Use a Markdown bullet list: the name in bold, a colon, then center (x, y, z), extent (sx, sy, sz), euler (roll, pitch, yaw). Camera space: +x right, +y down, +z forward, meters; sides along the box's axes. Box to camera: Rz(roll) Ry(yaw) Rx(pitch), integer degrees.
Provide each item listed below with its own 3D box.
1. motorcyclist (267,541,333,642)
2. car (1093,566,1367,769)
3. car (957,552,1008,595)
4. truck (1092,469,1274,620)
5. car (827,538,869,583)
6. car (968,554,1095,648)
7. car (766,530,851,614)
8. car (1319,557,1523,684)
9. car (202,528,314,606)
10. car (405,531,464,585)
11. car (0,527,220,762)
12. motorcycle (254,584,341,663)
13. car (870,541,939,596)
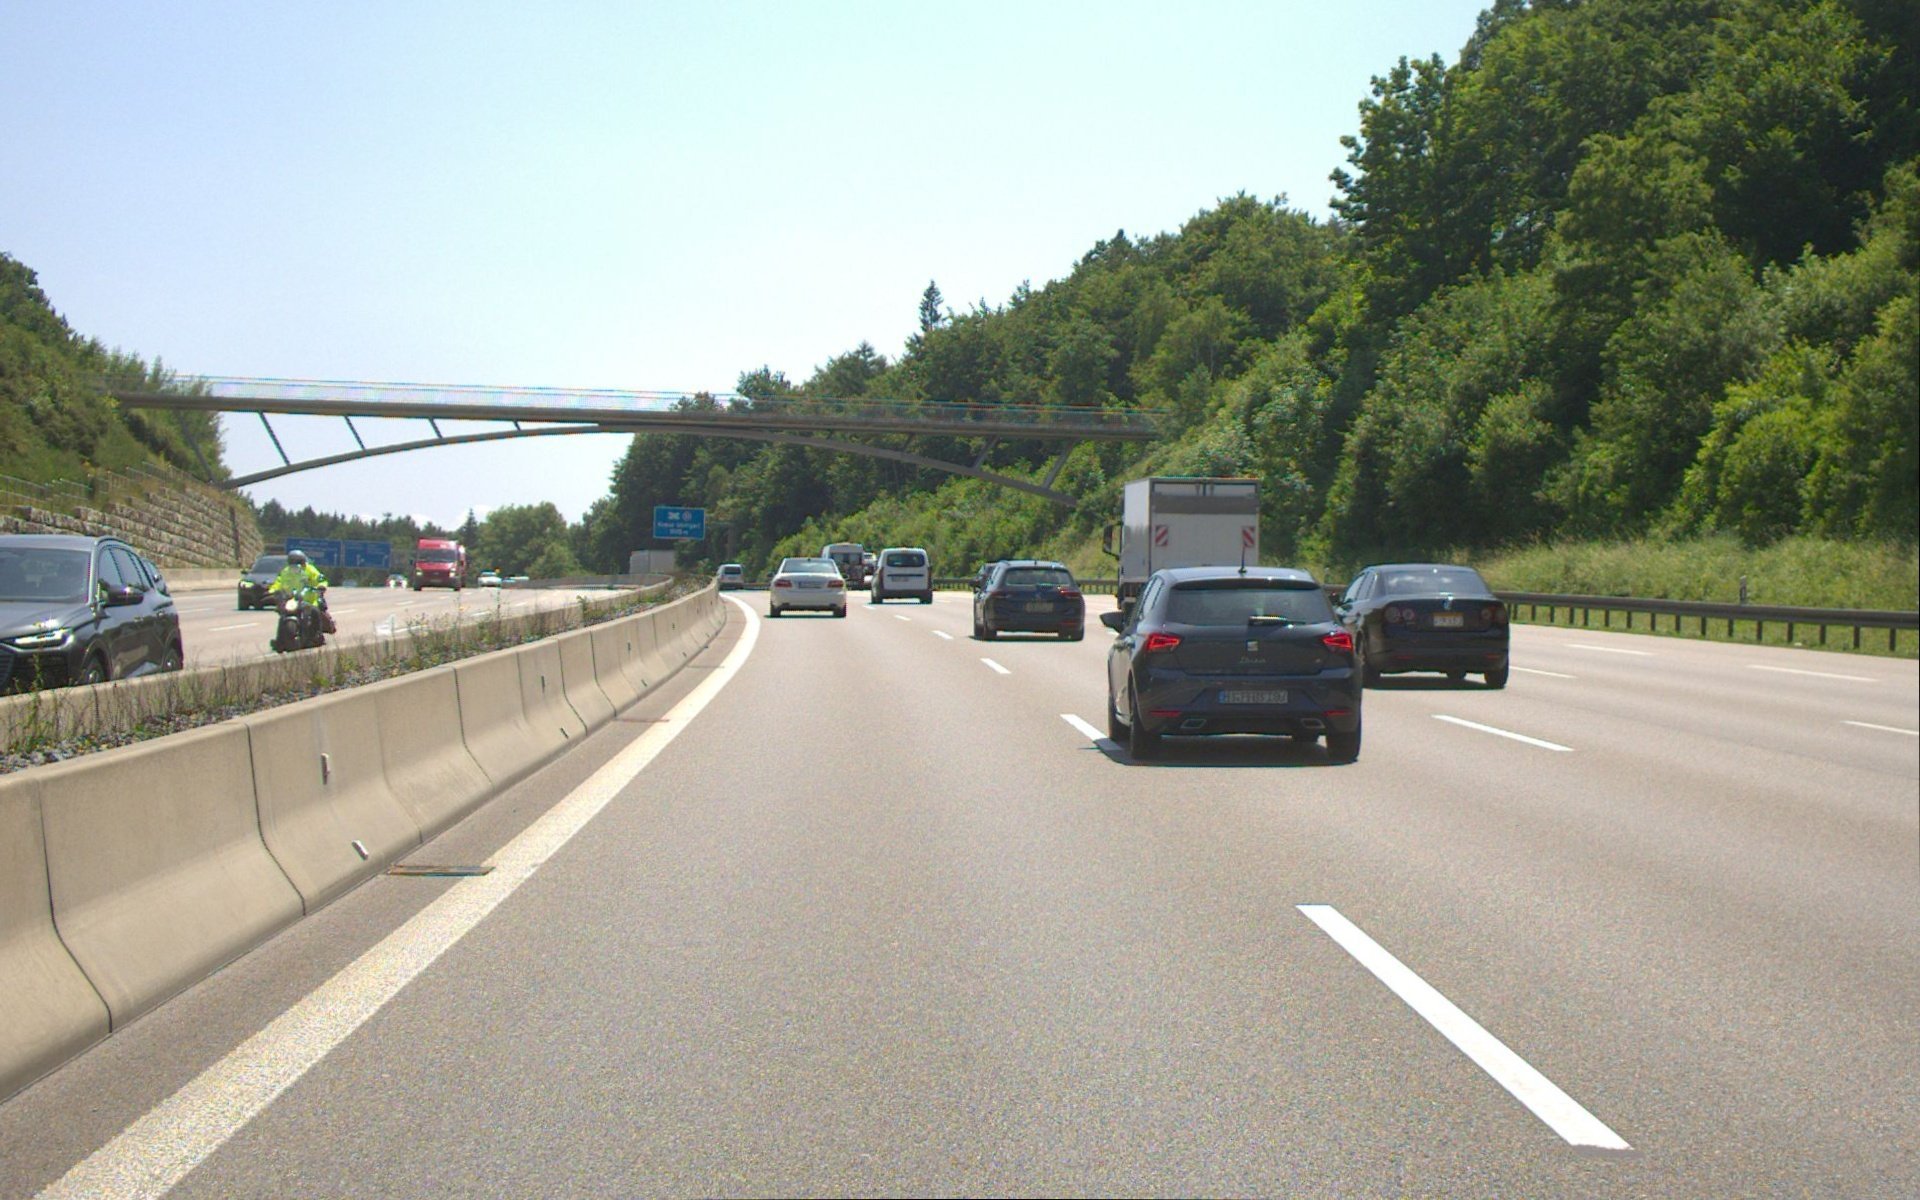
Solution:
- **motorcyclist**: center (-8.981, -0.121, 46.794), extent (0.727, 1.356, 0.905), euler (0, 1, -1)
- **car**: center (2.021, 0.468, 26.719), extent (1.708, 1.428, 4.000), euler (1, 1, -1)
- **car**: center (0.987, -1.169, 155.342), extent (2.145, 1.851, 4.000), euler (1, 0, -1)
- **truck**: center (4.831, -1.224, 76.074), extent (2.985, 3.156, 7.576), euler (0, 1, -4)
- **car**: center (-6.053, -2.128, 185.802), extent (2.265, 2.363, 4.702), euler (0, 0, -2)
- **car**: center (1.263, -0.012, 63.001), extent (1.993, 1.628, 4.760), euler (0, 1, -3)
- **car**: center (-3.711, -0.662, 84.505), extent (2.012, 1.839, 4.000), euler (1, -3, -2)
- **car**: center (5.479, 0.204, 41.406), extent (1.665, 1.404, 4.903), euler (1, 1, -1)
- **car**: center (-18.025, -0.818, 88.483), extent (1.993, 1.865, 5.252), euler (2, 0, -3)
- **car**: center (-23.385, -1.886, 153.117), extent (1.993, 2.328, 5.544), euler (0, 1, -3)
- **car**: center (-7.348, 0.283, 27.312), extent (1.993, 1.699, 4.953), euler (0, 1, -1)
- **motorcycle**: center (-8.994, 0.304, 46.783), extent (0.727, 1.010, 2.527), euler (0, 1, -1)
- **car**: center (-1.828, -1.048, 112.096), extent (2.103, 1.738, 4.688), euler (0, 1, -3)
